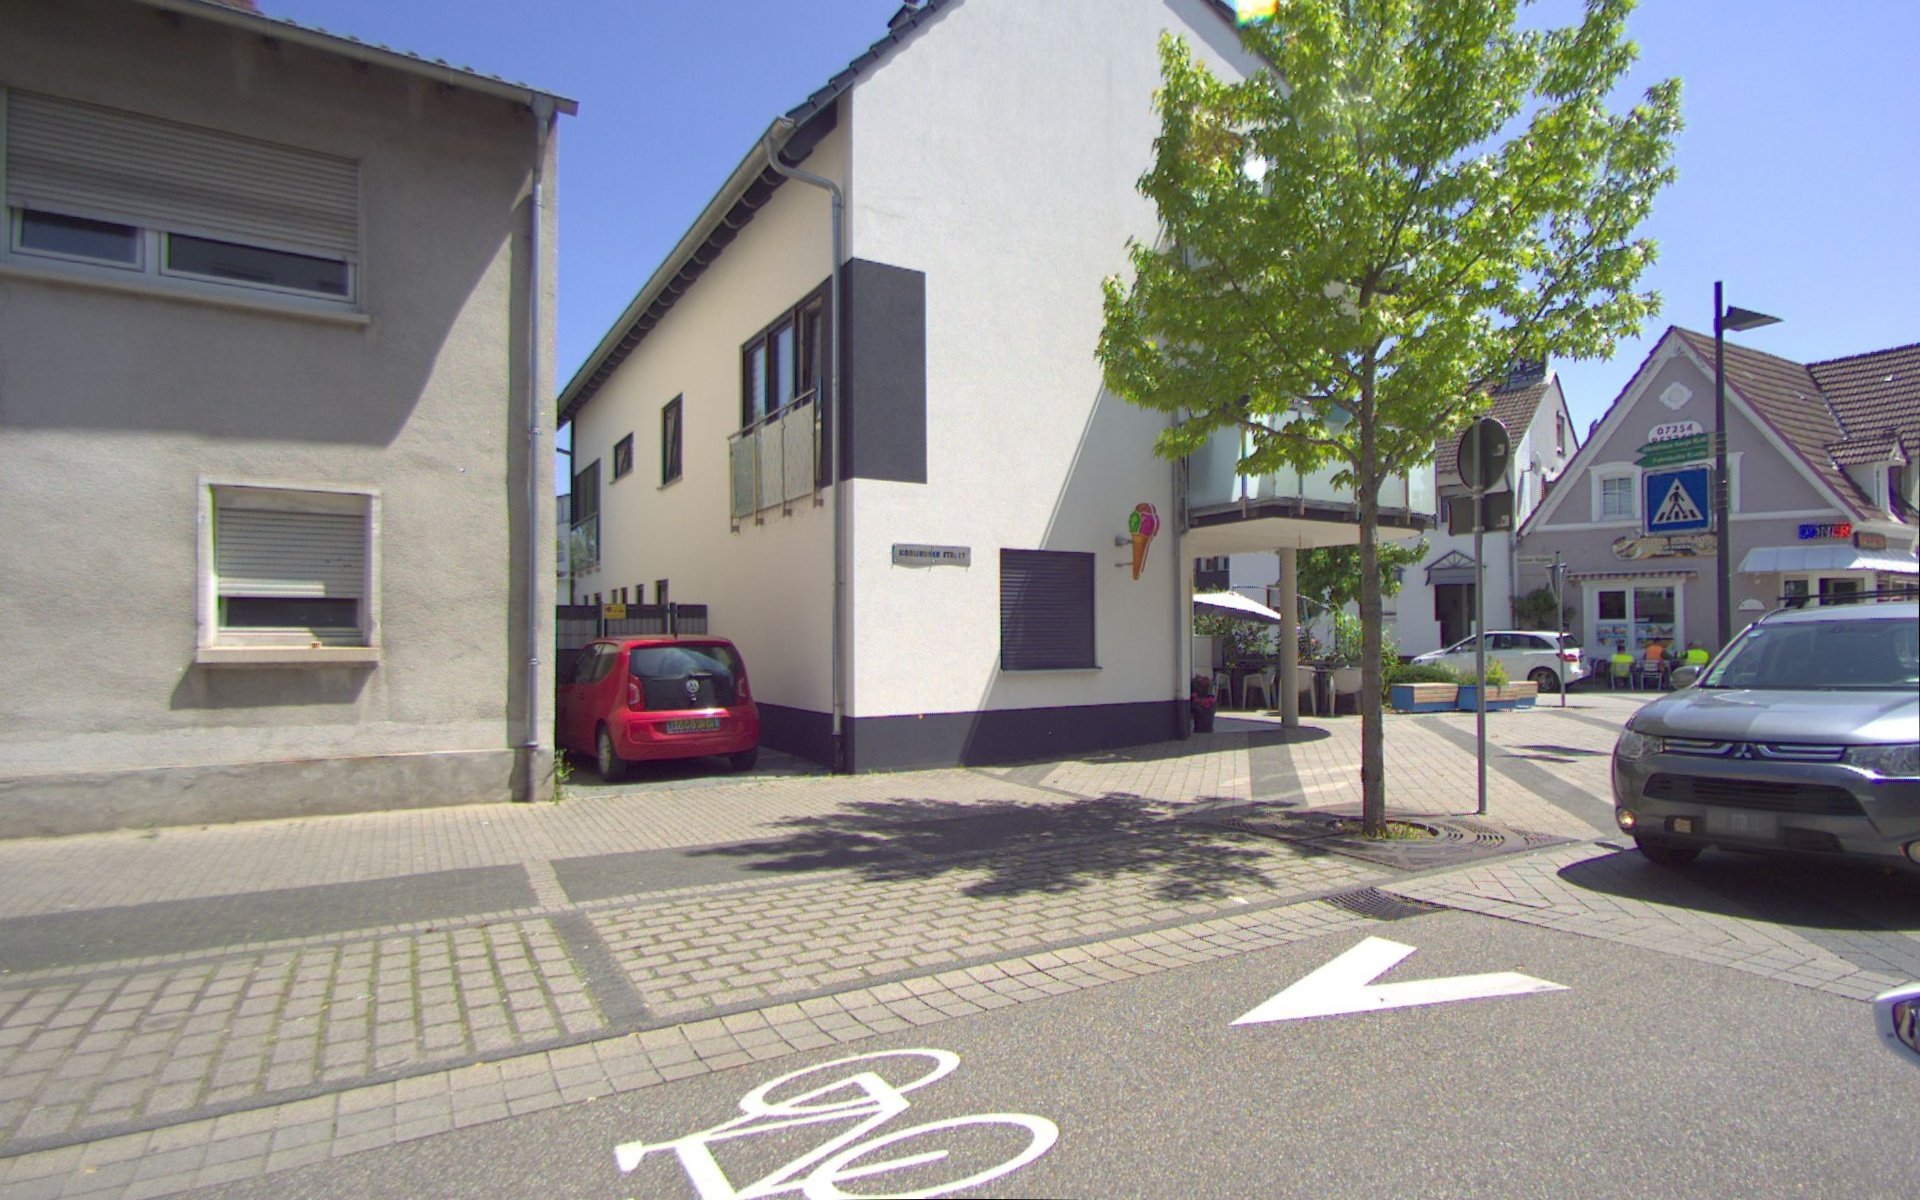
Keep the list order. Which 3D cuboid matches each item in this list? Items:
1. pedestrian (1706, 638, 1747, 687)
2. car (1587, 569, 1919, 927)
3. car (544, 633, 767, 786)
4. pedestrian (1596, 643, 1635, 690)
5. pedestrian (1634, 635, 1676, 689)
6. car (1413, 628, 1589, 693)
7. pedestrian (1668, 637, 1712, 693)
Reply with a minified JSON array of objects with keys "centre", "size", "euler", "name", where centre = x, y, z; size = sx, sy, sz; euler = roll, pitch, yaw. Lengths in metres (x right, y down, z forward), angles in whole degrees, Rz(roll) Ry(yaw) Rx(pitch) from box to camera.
[{"centre":[19.064,1.539,24.992],"size":[0.689,1.194,0.618],"euler":[1,-2,-34],"name":"pedestrian"},{"centre":[6.092,0.771,6.576],"size":[4.184,1.738,1.666],"euler":[1,-2,-31],"name":"car"},{"centre":[-3.548,1.120,11.410],"size":[1.571,1.462,3.094],"euler":[1,-2,-35],"name":"car"},{"centre":[16.757,1.681,25.701],"size":[0.623,1.131,0.789],"euler":[1,0,17],"name":"pedestrian"},{"centre":[17.736,1.567,25.643],"size":[0.623,1.306,0.789],"euler":[1,0,17],"name":"pedestrian"},{"centre":[14.336,1.562,26.748],"size":[3.875,1.566,1.509],"euler":[-2,-1,44],"name":"car"},{"centre":[17.943,1.587,24.691],"size":[0.623,1.306,0.789],"euler":[1,0,17],"name":"pedestrian"}]
